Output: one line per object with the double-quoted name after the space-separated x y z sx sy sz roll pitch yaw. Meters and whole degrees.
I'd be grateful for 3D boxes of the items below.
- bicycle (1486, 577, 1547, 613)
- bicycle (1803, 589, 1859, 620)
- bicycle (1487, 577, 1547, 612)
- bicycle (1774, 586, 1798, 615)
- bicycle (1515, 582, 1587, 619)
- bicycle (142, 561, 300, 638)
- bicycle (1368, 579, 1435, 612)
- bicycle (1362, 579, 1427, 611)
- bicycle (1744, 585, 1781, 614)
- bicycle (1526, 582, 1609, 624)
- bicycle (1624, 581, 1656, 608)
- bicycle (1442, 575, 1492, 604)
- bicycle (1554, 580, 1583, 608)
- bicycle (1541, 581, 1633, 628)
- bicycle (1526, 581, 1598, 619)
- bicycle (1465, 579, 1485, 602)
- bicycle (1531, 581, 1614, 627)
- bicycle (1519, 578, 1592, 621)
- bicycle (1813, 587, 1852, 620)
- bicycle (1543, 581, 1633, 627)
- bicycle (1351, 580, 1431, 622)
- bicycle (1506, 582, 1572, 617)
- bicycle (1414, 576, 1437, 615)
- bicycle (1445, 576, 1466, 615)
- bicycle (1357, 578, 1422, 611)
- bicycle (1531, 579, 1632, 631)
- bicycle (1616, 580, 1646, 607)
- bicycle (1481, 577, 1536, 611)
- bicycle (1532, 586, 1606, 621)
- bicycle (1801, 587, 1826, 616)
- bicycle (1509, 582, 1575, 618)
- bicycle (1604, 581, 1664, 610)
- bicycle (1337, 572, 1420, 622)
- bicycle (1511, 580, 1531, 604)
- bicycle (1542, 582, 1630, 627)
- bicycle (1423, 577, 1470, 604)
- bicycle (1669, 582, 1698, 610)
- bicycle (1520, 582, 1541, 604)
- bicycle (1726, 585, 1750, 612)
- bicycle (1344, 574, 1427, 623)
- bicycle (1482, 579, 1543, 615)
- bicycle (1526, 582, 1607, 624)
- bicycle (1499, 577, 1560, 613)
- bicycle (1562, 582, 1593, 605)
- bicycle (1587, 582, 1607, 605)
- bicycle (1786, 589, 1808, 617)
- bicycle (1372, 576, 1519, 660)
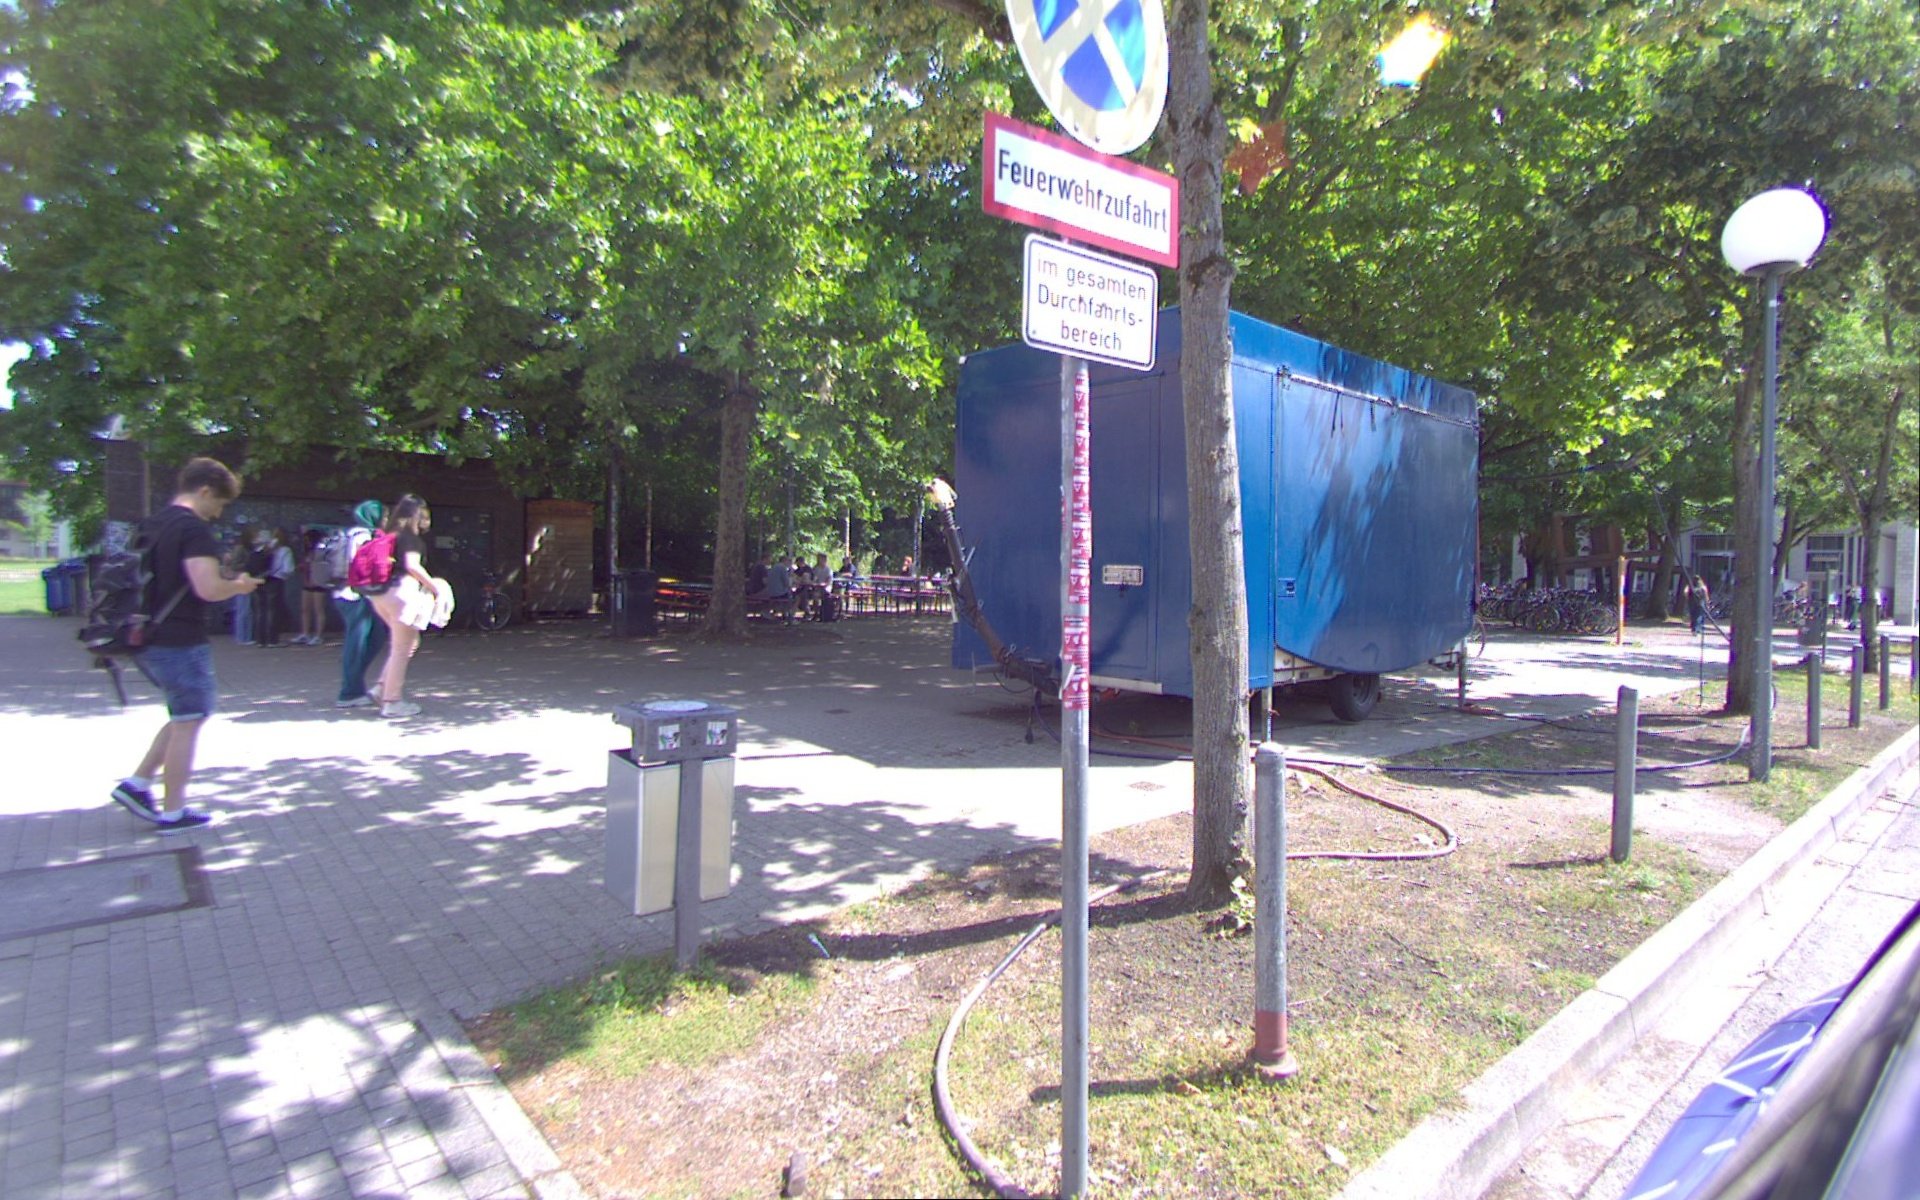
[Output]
19.909 -0.186 36.211 1.819 1.185 0.401 2 1 16 "bicycle"
35.002 0.166 40.676 1.749 1.155 0.608 2 3 -8 "bicycle"
20.098 -0.210 36.542 1.819 1.185 0.344 2 1 16 "bicycle"
34.724 0.029 42.524 1.465 1.155 0.560 2 2 -44 "bicycle"
17.850 0.013 30.609 1.773 1.041 0.438 2 1 18 "bicycle"
-11.740 -0.017 16.119 1.991 1.154 0.574 0 1 -42 "bicycle"
14.157 -0.142 32.467 1.868 0.991 0.479 2 2 1 "bicycle"
14.168 -0.168 33.043 1.868 0.991 0.479 2 2 1 "bicycle"
34.005 -0.028 42.881 1.494 1.155 0.493 3 2 -22 "bicycle"
16.798 0.079 28.031 1.895 1.072 0.322 3 1 27 "bicycle"
29.724 -0.248 44.223 1.792 1.091 0.464 2 2 -33 "bicycle"
21.634 -0.452 43.237 1.816 1.185 0.412 2 1 11 "bicycle"
25.526 -0.268 42.464 0.468 1.123 1.665 1 3 12 "bicycle"
16.050 0.102 25.952 1.940 1.095 0.399 3 2 38 "bicycle"
17.894 -0.003 30.101 1.712 1.065 0.493 2 1 13 "bicycle"
26.415 -0.469 51.860 0.453 1.144 1.661 -1 -2 44 "bicycle"
15.613 0.081 25.823 1.764 1.095 0.432 3 2 38 "bicycle"
17.364 -0.025 29.517 1.712 1.169 0.493 2 1 13 "bicycle"
31.448 0.123 36.492 0.622 1.097 1.674 0 3 26 "bicycle"
16.296 0.098 26.300 1.940 1.095 0.399 3 2 38 "bicycle"
11.391 0.004 26.775 1.886 0.991 0.607 3 3 28 "bicycle"
18.897 -0.021 33.050 1.770 1.083 0.424 2 1 19 "bicycle"
13.880 -0.146 30.148 0.474 1.096 1.885 3 3 28 "bicycle"
14.636 -0.156 29.877 0.474 1.096 1.885 3 3 28 "bicycle"
14.266 -0.191 33.648 1.872 0.991 0.477 2 2 9 "bicycle"
15.144 0.102 24.676 2.010 1.181 0.643 3 2 38 "bicycle"
30.994 -0.282 46.749 1.666 1.164 0.627 2 2 -40 "bicycle"
20.442 -0.233 37.726 1.811 1.185 0.345 2 1 2 "bicycle"
17.420 0.105 28.968 1.717 0.920 0.491 2 1 20 "bicycle"
35.139 0.048 41.654 1.465 1.155 0.560 -1 4 -44 "bicycle"
18.757 -0.006 32.635 1.770 1.083 0.424 2 1 19 "bicycle"
27.519 -0.179 41.321 1.895 1.123 0.630 1 2 13 "bicycle"
10.244 -0.086 24.767 1.792 1.132 0.607 3 3 28 "bicycle"
27.996 -0.386 50.488 0.453 1.144 1.661 -1 -2 44 "bicycle"
16.637 0.115 26.917 1.940 1.095 0.399 3 2 38 "bicycle"
22.269 -0.447 46.338 1.818 1.185 0.434 2 1 14 "bicycle"
32.257 -0.179 45.128 1.664 1.139 0.482 2 2 -36 "bicycle"
28.060 -0.344 49.742 0.499 1.060 1.661 -1 -1 44 "bicycle"
33.623 -0.061 43.752 1.447 1.099 0.460 2 2 -40 "bicycle"
10.825 -0.052 25.760 1.886 1.132 0.607 3 3 28 "bicycle"
19.255 -0.128 35.301 1.768 1.185 0.401 2 1 16 "bicycle"
16.941 0.073 28.303 1.895 1.072 0.322 3 1 27 "bicycle"
19.966 -0.178 35.519 1.768 1.185 0.401 2 1 16 "bicycle"
29.478 -0.290 48.282 1.663 1.060 0.618 1 -1 -33 "bicycle"
30.032 -0.289 47.690 0.566 1.060 1.671 -1 -1 41 "bicycle"
39.942 0.139 48.273 1.799 1.257 0.531 -1 3 -42 "bicycle"
7.150 0.250 14.867 2.249 1.137 0.654 0 4 -27 "bicycle"
